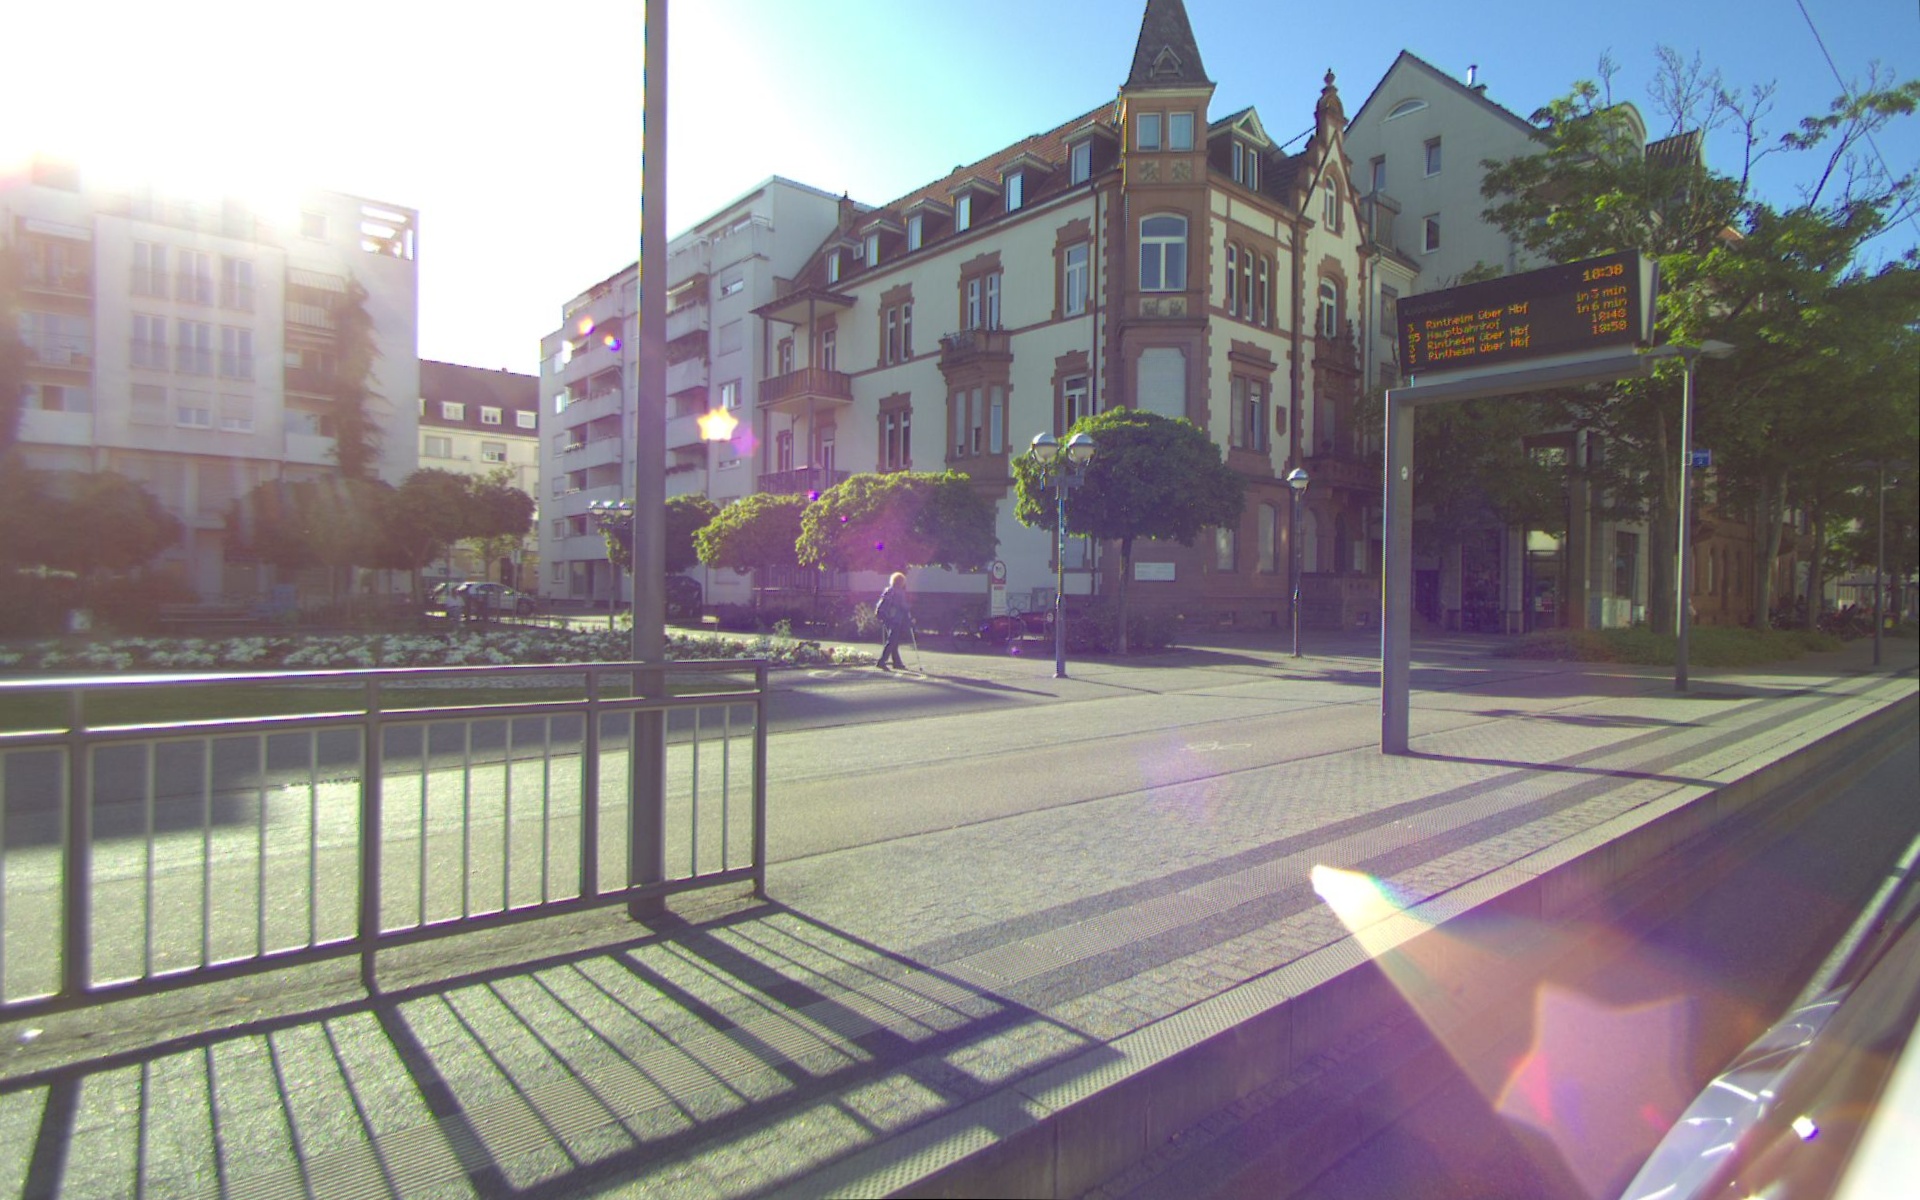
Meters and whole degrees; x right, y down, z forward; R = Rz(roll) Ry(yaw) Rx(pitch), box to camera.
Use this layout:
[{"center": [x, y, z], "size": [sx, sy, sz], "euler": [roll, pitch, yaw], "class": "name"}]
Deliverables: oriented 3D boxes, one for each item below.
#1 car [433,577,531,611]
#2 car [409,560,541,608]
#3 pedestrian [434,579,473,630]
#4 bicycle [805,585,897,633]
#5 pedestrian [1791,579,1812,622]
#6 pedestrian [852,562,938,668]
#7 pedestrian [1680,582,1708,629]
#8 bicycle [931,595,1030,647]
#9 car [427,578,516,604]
[{"center": [-22.548, -0.282, 47.786], "size": [3.923, 1.536, 2.001], "euler": [0, 1, -34], "class": "car"}, {"center": [-27.664, -0.914, 57.914], "size": [6.290, 2.587, 2.808], "euler": [0, 1, -44], "class": "car"}, {"center": [-14.715, 0.115, 29.397], "size": [0.917, 1.429, 1.529], "euler": [0, 1, -30], "class": "pedestrian"}, {"center": [-3.294, 0.261, 30.849], "size": [2.864, 1.389, 0.745], "euler": [0, 1, -41], "class": "bicycle"}, {"center": [40.317, 0.018, 48.507], "size": [0.549, 2.039, 0.654], "euler": [0, 0, -38], "class": "pedestrian"}, {"center": [-1.080, 0.233, 16.808], "size": [1.064, 1.689, 0.944], "euler": [1, 0, 37], "class": "pedestrian"}, {"center": [27.797, 0.211, 38.314], "size": [0.740, 1.757, 0.864], "euler": [1, 0, 43], "class": "pedestrian"}, {"center": [0.519, 0.464, 23.926], "size": [0.786, 1.081, 2.767], "euler": [1, 2, 40], "class": "bicycle"}, {"center": [-25.254, -0.471, 52.360], "size": [3.923, 1.304, 2.001], "euler": [0, 1, -34], "class": "car"}]
